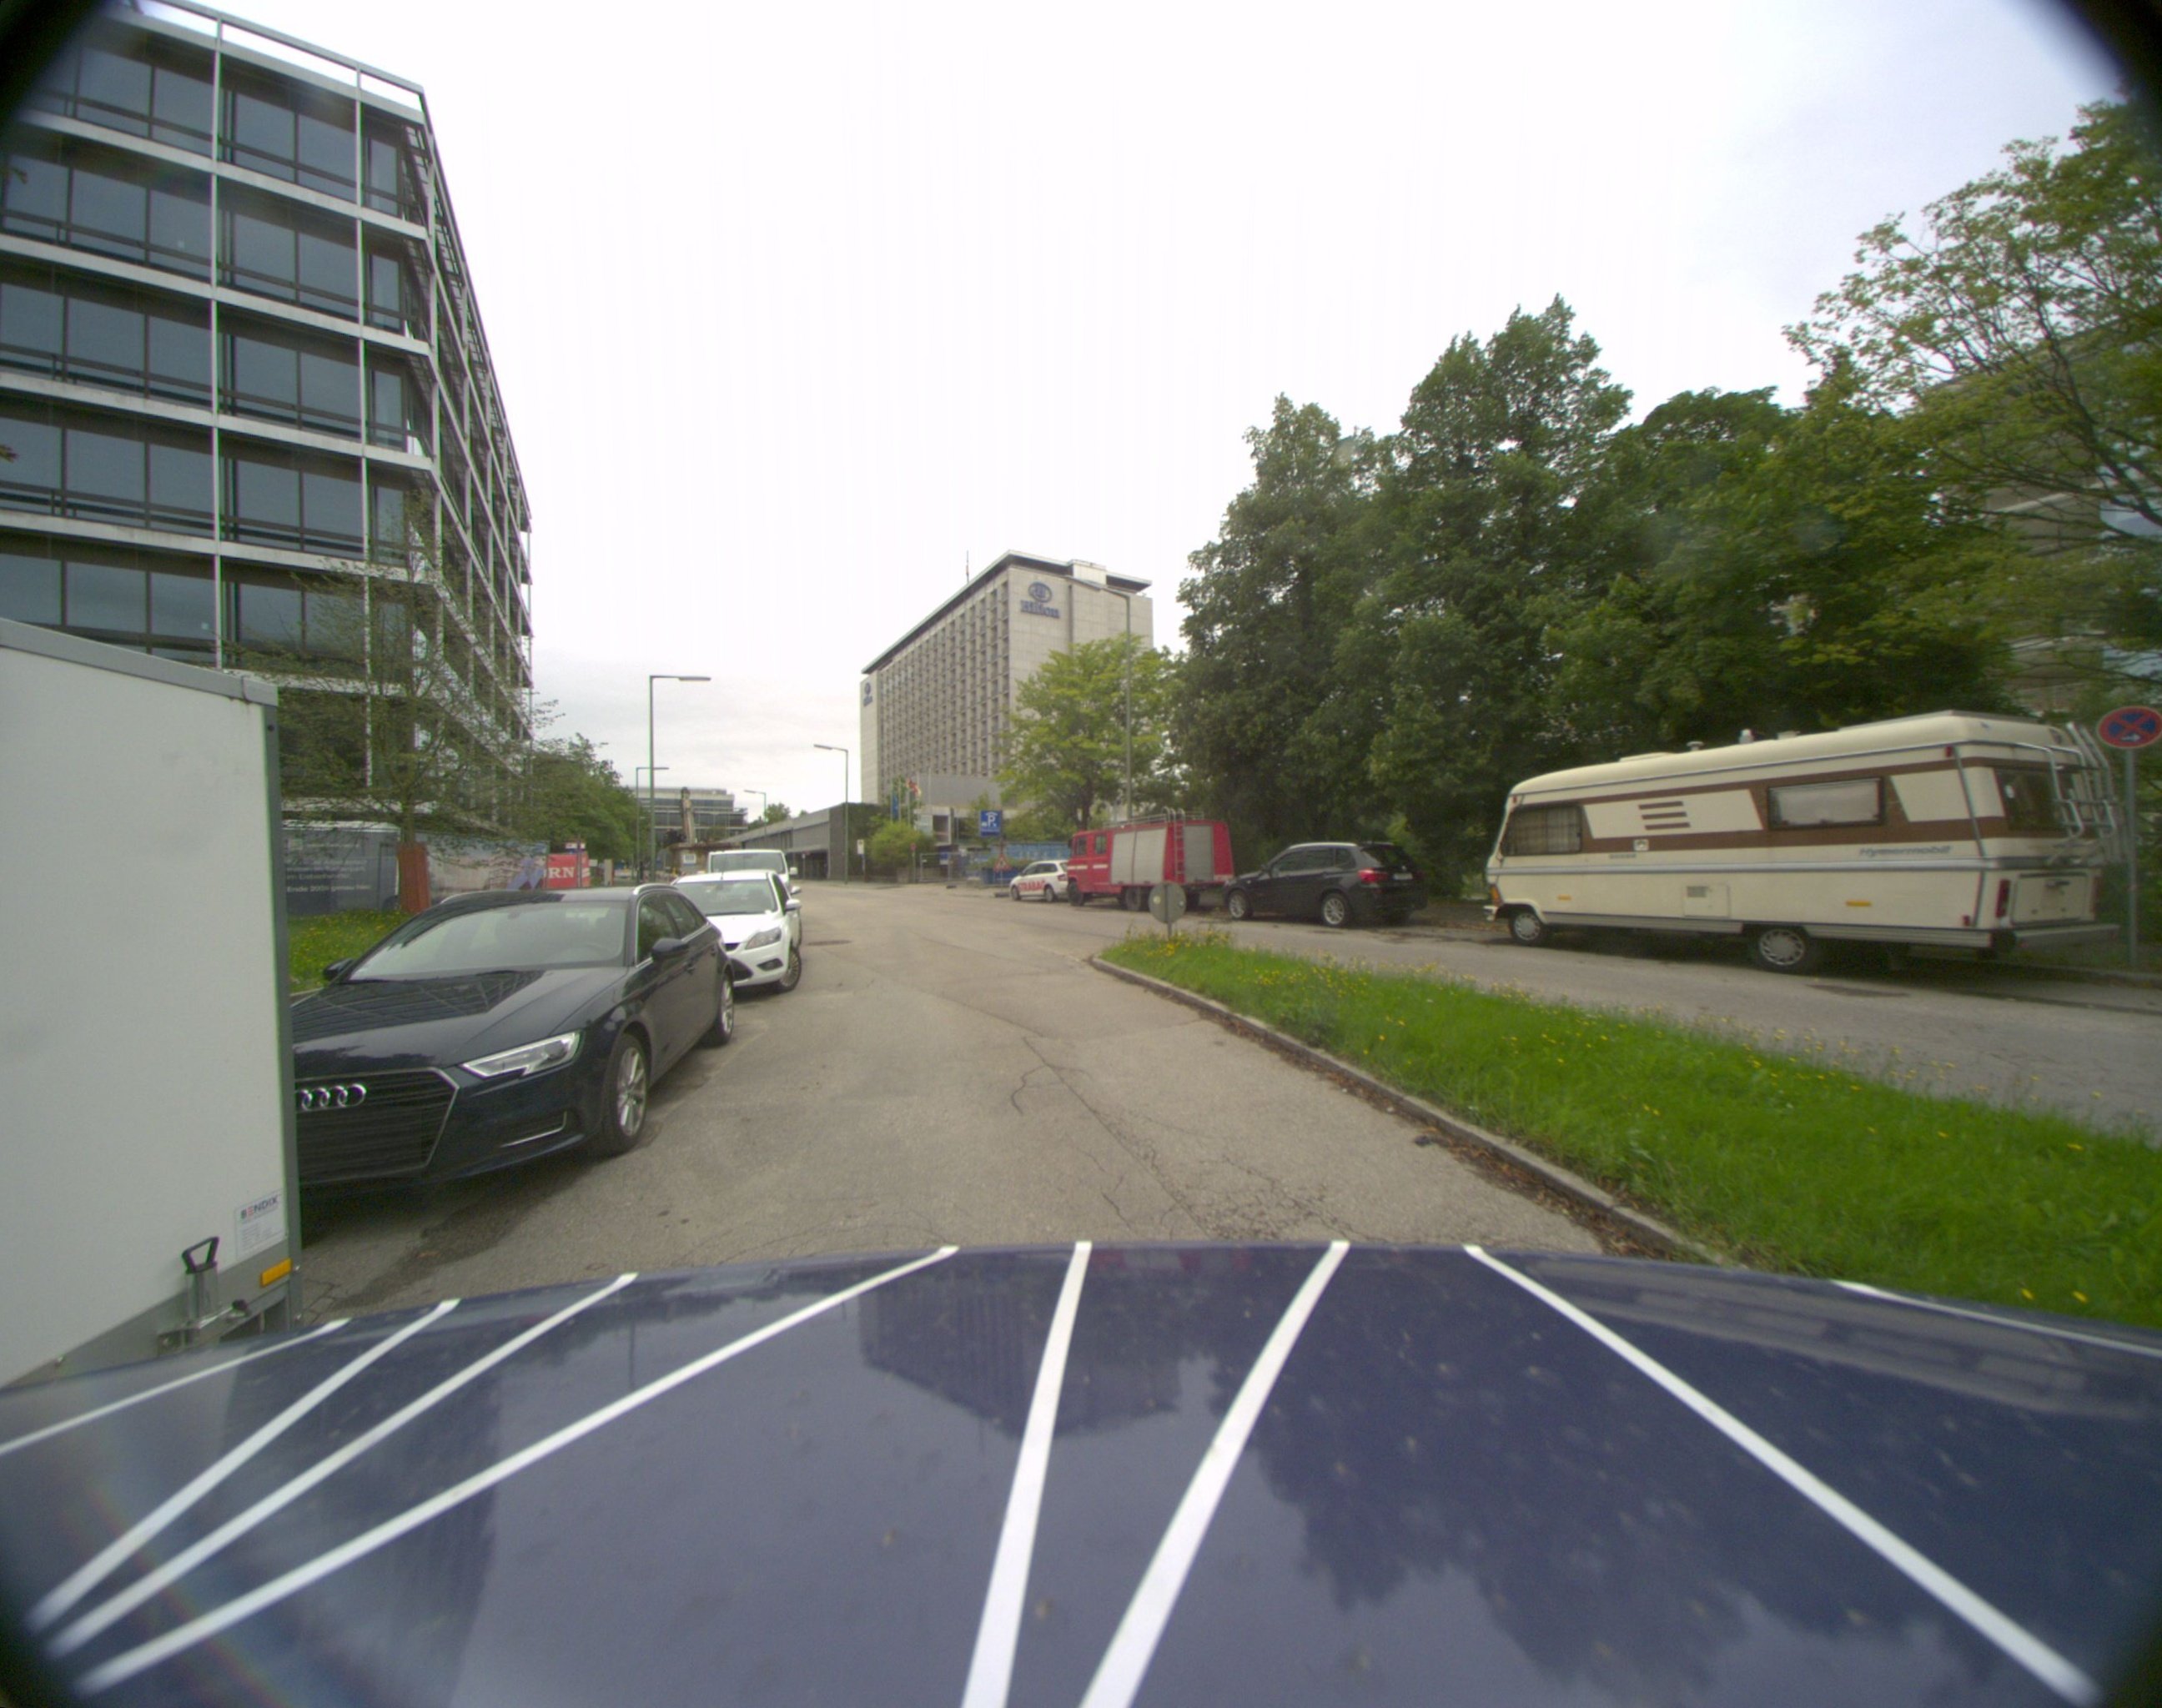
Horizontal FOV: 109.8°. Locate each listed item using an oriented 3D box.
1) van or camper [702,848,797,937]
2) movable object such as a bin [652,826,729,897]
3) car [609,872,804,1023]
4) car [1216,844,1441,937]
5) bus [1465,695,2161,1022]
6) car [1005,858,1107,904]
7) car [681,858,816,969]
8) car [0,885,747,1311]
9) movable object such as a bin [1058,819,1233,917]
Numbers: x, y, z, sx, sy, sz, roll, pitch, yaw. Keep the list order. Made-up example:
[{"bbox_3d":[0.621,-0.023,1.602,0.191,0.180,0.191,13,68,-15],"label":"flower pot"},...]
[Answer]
[{"bbox_3d":[-8.820,0.876,20.041,2.003,2.002,5.365,-1,0,-26],"label":"van or camper"},{"bbox_3d":[-23.112,0.390,44.674,3.257,3.695,8.985,-1,0,-32],"label":"movable object such as a bin"},{"bbox_3d":[-4.758,1.041,10.250,1.774,1.477,4.214,-1,0,-18],"label":"car"},{"bbox_3d":[4.963,0.666,15.921,1.784,1.640,4.450,-1,0,-29],"label":"car"},{"bbox_3d":[7.973,0.051,9.324,2.325,2.683,5.724,-1,0,-21],"label":"bus"},{"bbox_3d":[-1.002,0.926,27.949,1.785,1.540,4.246,-1,0,-33],"label":"car"},{"bbox_3d":[-6.315,0.950,14.475,2.002,1.718,4.440,-1,0,-24],"label":"car"},{"bbox_3d":[-3.646,0.987,5.097,1.879,1.428,4.323,0,-1,-14],"label":"car"},{"bbox_3d":[1.621,0.362,22.140,2.114,2.444,6.173,-1,0,-27],"label":"movable object such as a bin"}]
